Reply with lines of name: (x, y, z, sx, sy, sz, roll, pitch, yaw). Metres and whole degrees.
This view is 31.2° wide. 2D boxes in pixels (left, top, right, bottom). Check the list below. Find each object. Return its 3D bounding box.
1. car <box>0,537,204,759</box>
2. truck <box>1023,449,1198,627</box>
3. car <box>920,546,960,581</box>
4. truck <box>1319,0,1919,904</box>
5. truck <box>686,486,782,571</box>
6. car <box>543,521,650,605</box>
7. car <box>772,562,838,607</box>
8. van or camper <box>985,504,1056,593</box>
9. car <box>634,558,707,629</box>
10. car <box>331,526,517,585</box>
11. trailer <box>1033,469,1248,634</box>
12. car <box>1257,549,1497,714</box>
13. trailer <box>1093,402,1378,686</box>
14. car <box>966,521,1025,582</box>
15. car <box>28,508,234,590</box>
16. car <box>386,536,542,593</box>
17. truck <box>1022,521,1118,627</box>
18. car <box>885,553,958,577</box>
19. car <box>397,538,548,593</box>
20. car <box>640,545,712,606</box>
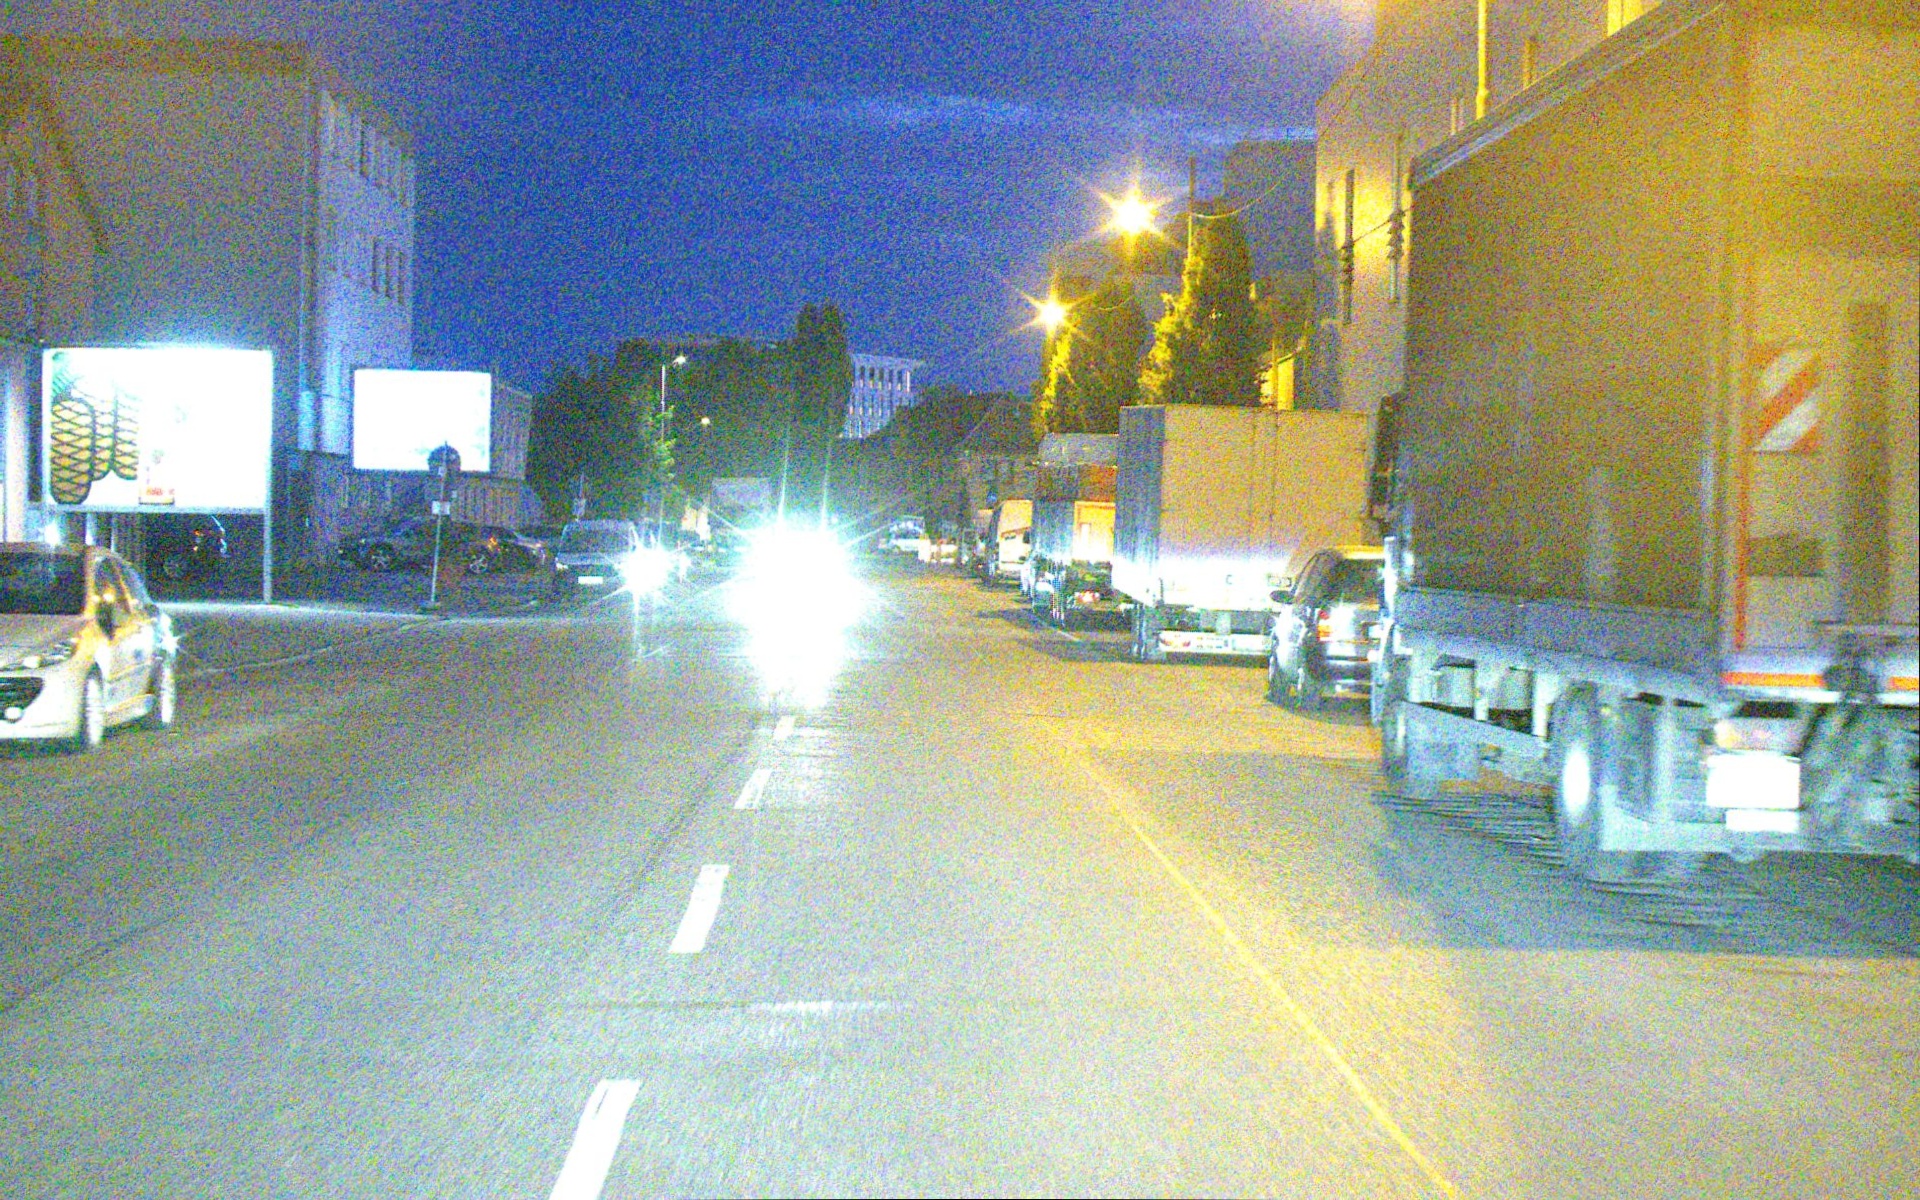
car: (-6.634, 0.269, 24.066, 1.841, 1.415, 4.000, 1, 1, -1)
truck: (2.973, -1.216, 69.994, 3.151, 3.451, 6.673, 0, 0, -1)
car: (-1.033, -1.862, 174.631, 1.993, 1.678, 4.000, 1, 1, -1)
truck: (4.399, -0.852, 18.337, 3.520, 3.970, 10.343, 0, 0, -2)
truck: (-10.170, -3.173, 153.718, 3.889, 3.609, 8.262, 1, 1, -6)
car: (-8.069, -0.830, 76.654, 1.993, 1.788, 4.000, 1, 1, -1)
car: (-5.044, -0.533, 112.163, 1.993, 1.393, 4.000, 1, 1, -1)
van or camper: (1.801, -1.560, 103.888, 1.993, 2.573, 4.915, 1, 1, 0)
car: (-7.381, -0.198, 87.914, 1.678, 1.730, 4.356, 1, 1, -3)
car: (-14.504, -1.202, 93.063, 4.612, 1.480, 2.001, 1, 1, -23)
trailer: (3.137, -0.827, 62.827, 3.184, 2.739, 10.715, 0, 0, -1)
car: (4.018, 0.283, 33.669, 1.852, 1.514, 3.818, 0, 0, 0)
trailer: (3.572, -0.710, 46.534, 2.686, 3.452, 7.810, 2, 0, -3)
car: (1.255, -1.750, 124.284, 1.993, 2.138, 4.000, 1, 1, -1)
car: (-17.734, -1.088, 73.698, 3.986, 1.645, 2.000, 1, 1, -3)
car: (-14.214, -1.014, 98.459, 3.986, 1.589, 2.000, 0, 0, -27)
truck: (2.599, -0.631, 82.164, 1.993, 2.399, 5.293, 1, 1, -1)
car: (-2.422, -2.235, 219.157, 4.531, 1.375, 2.000, 1, 0, 3)
car: (-14.380, -1.023, 101.417, 3.986, 1.589, 2.000, 0, 0, -27)
car: (-8.432, -0.747, 102.333, 1.897, 1.730, 4.356, 1, 1, -2)
